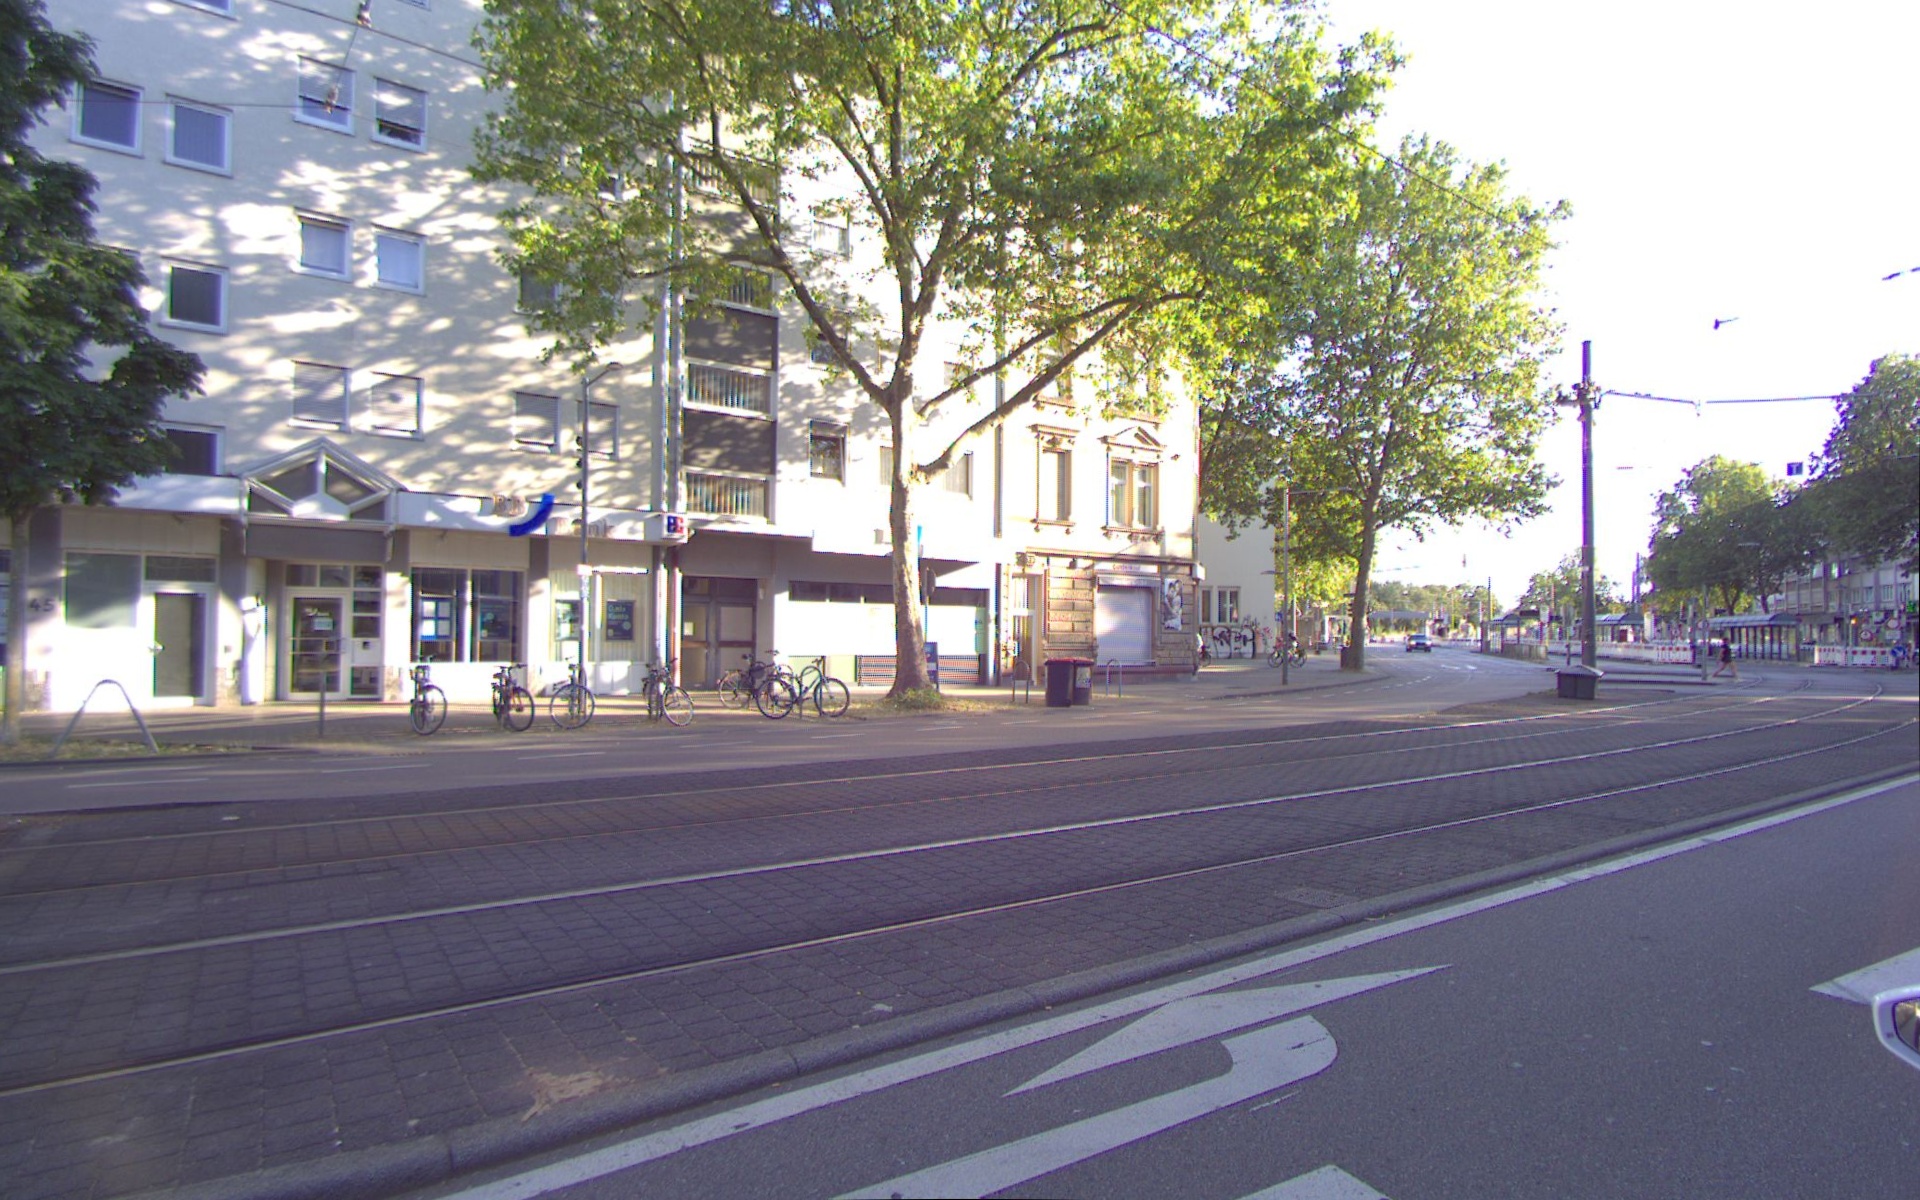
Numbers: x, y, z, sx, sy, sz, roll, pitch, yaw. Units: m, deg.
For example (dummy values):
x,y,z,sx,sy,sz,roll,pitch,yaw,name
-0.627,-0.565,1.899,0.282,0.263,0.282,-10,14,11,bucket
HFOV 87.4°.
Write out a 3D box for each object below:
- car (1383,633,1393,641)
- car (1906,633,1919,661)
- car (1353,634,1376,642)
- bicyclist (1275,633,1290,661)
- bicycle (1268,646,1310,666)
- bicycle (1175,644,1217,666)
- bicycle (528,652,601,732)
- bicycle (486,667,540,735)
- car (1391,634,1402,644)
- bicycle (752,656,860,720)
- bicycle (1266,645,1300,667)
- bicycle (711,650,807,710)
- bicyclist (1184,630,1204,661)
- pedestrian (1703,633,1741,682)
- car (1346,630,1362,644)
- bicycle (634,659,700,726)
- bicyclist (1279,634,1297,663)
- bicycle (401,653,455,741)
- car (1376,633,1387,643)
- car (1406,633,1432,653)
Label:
x,y,z,sx,sy,sz,roll,pitch,yaw,name
89.600,7.709,210.267,1.814,1.706,3.716,0,-2,23,car
64.584,3.135,66.067,1.961,1.815,4.000,2,-1,20,car
78.266,7.342,194.274,3.919,1.661,1.792,0,-2,13,car
15.192,2.190,47.299,0.628,1.310,0.457,0,-2,12,bicyclist
16.679,2.816,50.935,1.984,0.950,0.760,0,-2,17,bicycle
11.378,2.640,48.428,1.876,1.018,0.620,1,-2,1,bicycle
-6.353,1.435,16.077,0.724,1.128,1.729,2,-1,-34,bicycle
-6.927,1.534,15.540,0.467,0.900,1.729,2,-1,-34,bicycle
78.799,7.003,181.336,1.814,1.706,3.715,-2,-2,23,car
-2.772,1.567,18.121,1.800,1.091,0.649,2,-2,-29,bicycle
15.203,2.651,47.279,1.480,0.998,0.451,0,-2,12,bicycle
-4.004,1.570,20.031,1.777,1.132,0.617,2,-2,-29,bicycle
11.302,2.196,48.438,0.825,1.463,0.627,1,-2,2,bicyclist
27.723,2.079,36.554,0.639,1.708,0.985,3,-2,-41,pedestrian
50.449,4.722,128.510,1.765,1.820,3.998,0,-2,24,car
-5.029,1.553,17.170,0.584,1.002,1.729,2,-1,-34,bicycle
16.635,2.465,50.960,0.825,1.463,0.756,0,-2,17,bicyclist
-7.828,1.387,14.752,0.506,1.153,1.729,2,-1,-34,bicycle
79.480,7.165,189.319,1.814,1.706,3.716,0,-2,23,car
39.774,3.686,86.991,1.962,1.661,3.997,0,-2,25,car
